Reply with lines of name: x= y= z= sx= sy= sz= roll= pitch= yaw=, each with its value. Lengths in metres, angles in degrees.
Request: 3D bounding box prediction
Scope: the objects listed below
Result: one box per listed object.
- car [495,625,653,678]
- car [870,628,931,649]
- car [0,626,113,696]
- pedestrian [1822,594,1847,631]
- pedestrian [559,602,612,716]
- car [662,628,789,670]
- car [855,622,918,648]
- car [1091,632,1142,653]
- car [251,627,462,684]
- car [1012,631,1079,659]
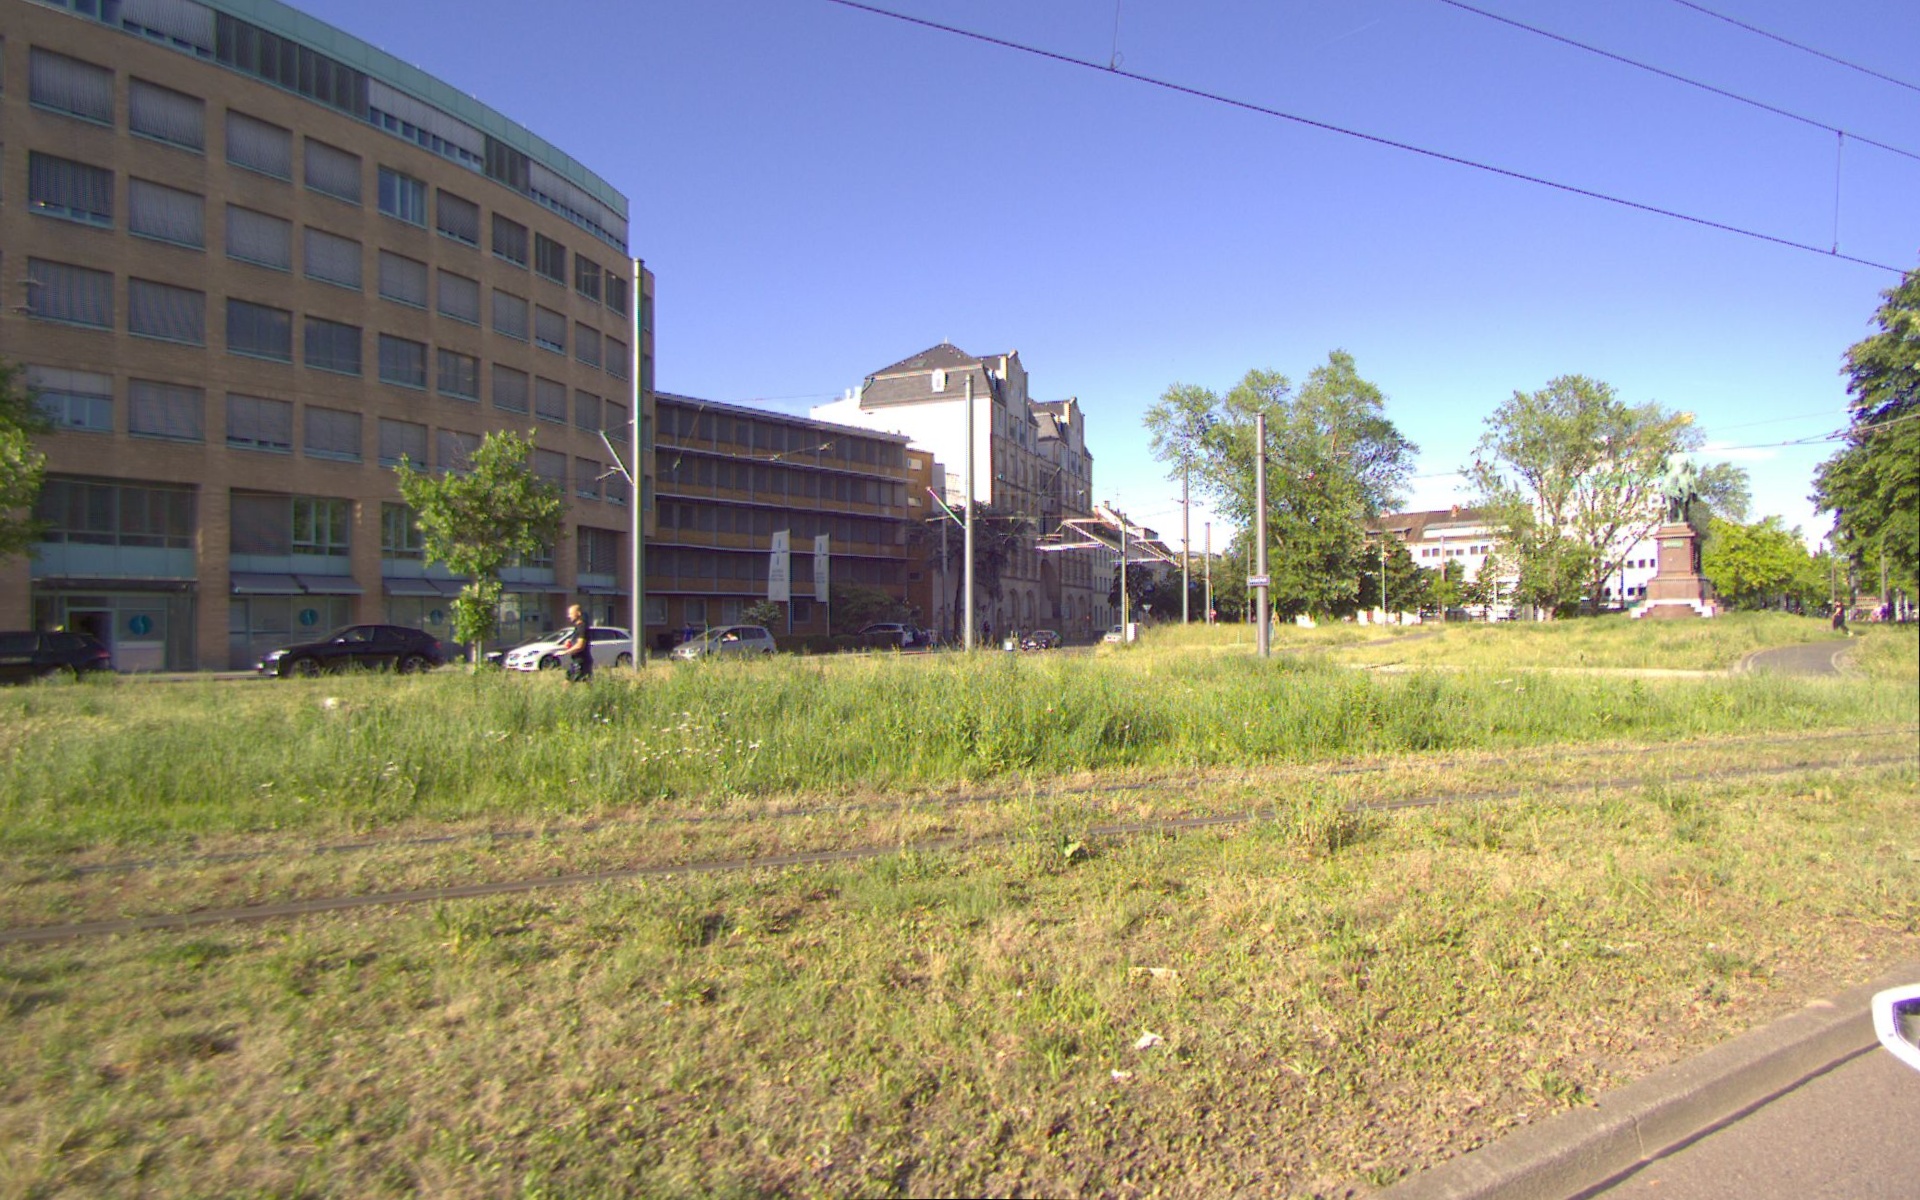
car: x=-13.067 y=1.701 z=34.198 sx=1.971 sy=1.617 sz=4.631 roll=1 pitch=-1 yaw=42
car: x=-4.274 y=2.767 z=71.928 sx=3.919 sy=1.359 sz=2.001 roll=1 pitch=0 yaw=15
car: x=-22.818 y=1.392 z=23.294 sx=1.971 sy=1.537 sz=4.637 roll=1 pitch=-1 yaw=42
pedestrian: x=39.522 y=0.552 z=45.391 sx=0.661 sy=1.637 sz=0.555 roll=1 pitch=0 yaw=16
pedestrian: x=-5.726 y=0.882 z=15.368 sx=0.733 sy=1.693 sz=0.733 roll=0 pitch=-1 yaw=-21
car: x=-8.944 y=1.830 z=38.656 sx=1.969 sy=1.446 sz=4.491 roll=1 pitch=-1 yaw=39
car: x=-5.050 y=2.405 z=69.452 sx=3.919 sy=1.602 sz=2.001 roll=1 pitch=0 yaw=15
car: x=11.707 y=3.150 z=75.097 sx=1.966 sy=1.372 sz=4.753 roll=0 pitch=0 yaw=34
car: x=-17.545 y=1.561 z=29.361 sx=4.986 sy=1.467 sz=1.974 roll=2 pitch=-1 yaw=-44
car: x=5.205 y=2.735 z=60.942 sx=1.969 sy=1.532 sz=4.265 roll=0 pitch=-4 yaw=39
